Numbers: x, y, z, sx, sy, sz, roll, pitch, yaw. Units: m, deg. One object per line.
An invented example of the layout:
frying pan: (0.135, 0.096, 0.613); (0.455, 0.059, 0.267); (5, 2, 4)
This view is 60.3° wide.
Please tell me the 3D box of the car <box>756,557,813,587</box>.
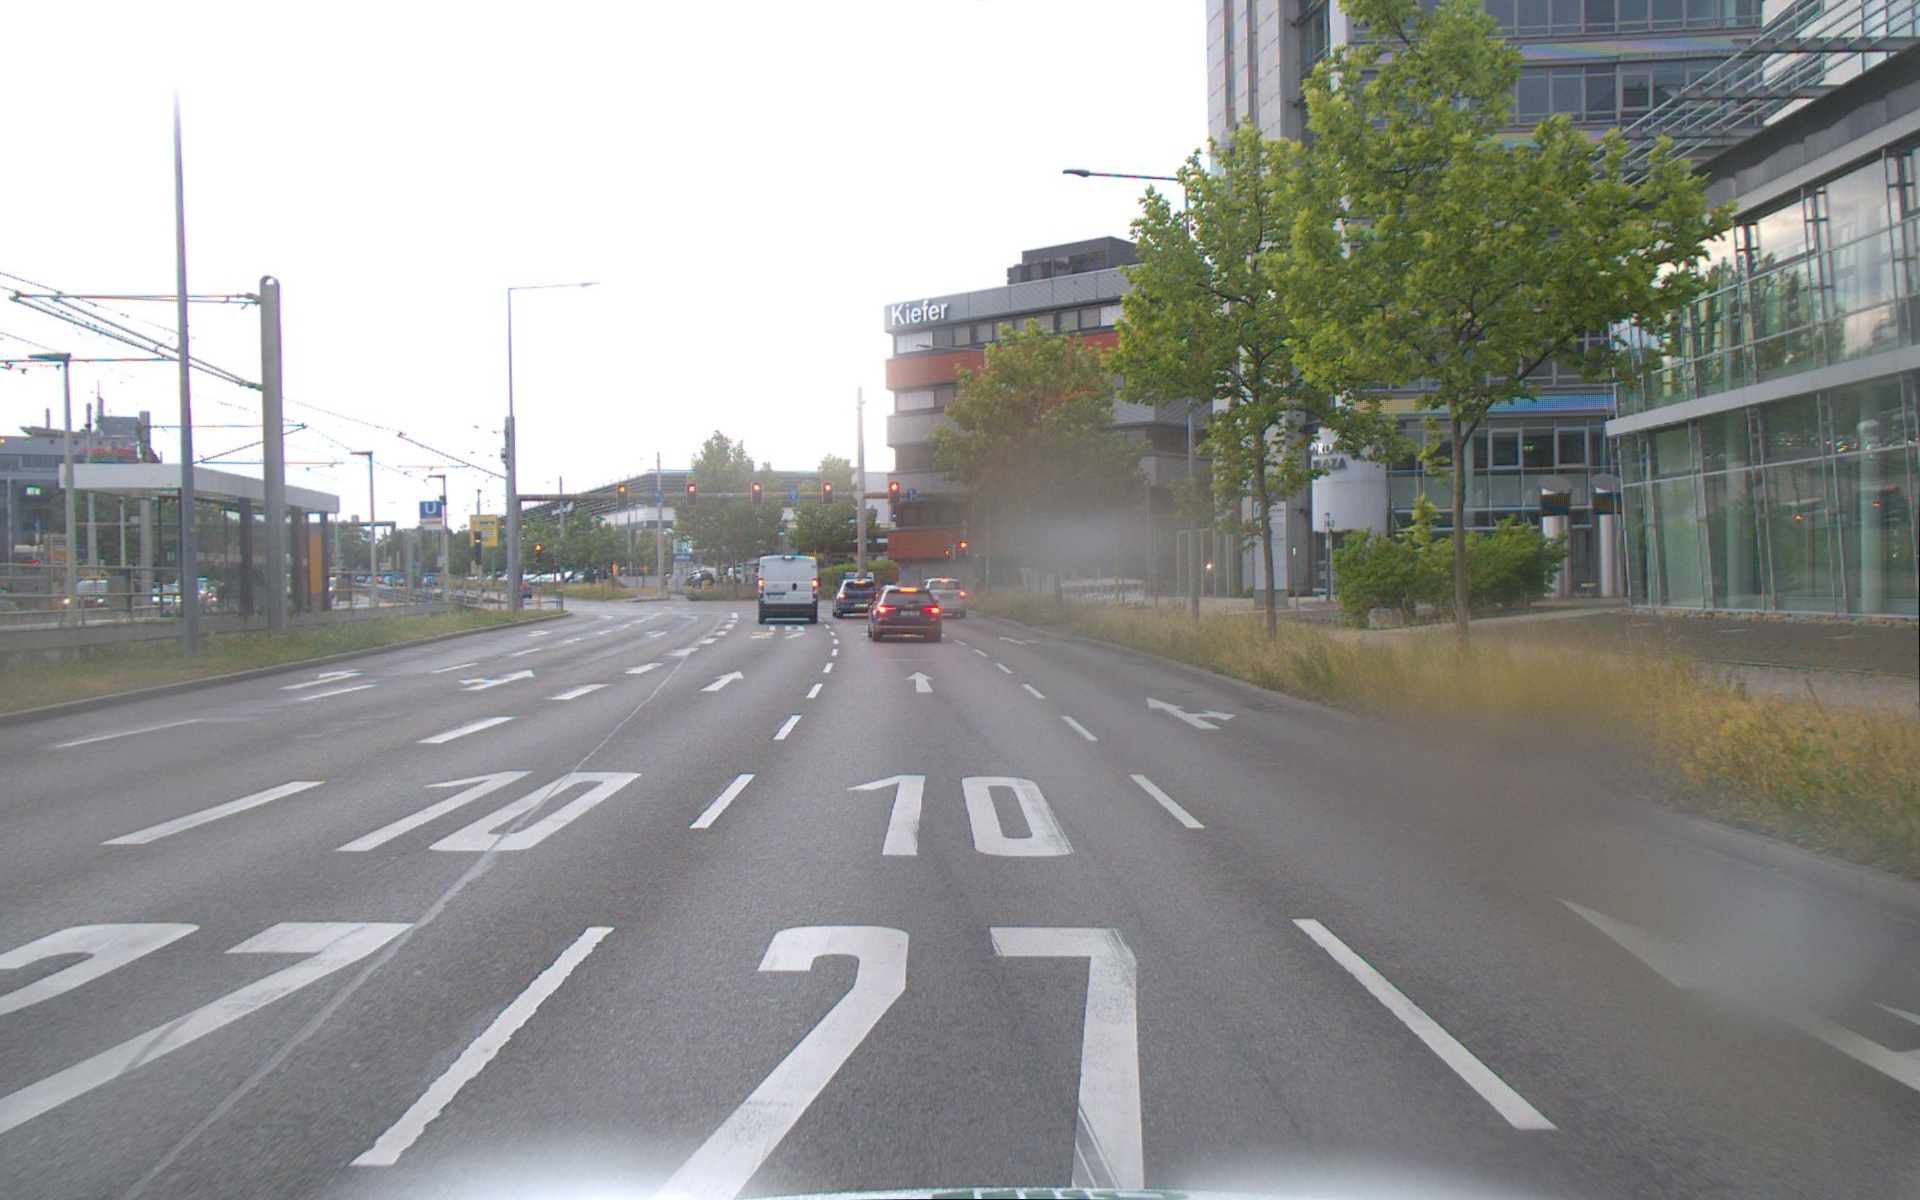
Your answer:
car: (-12.602, -1.987, 118.905); (3.932, 2.049, 1.986); (0, -2, 44)

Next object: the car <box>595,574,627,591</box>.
car: (-46.902, -2.354, 222.379); (3.932, 2.049, 1.986); (1, -3, -23)

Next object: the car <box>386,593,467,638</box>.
car: (-19.518, 0.548, 60.684); (1.955, 1.478, 3.843); (3, 0, -6)

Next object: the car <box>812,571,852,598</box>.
car: (-10.984, -1.308, 141.953); (1.973, 2.049, 3.959); (1, -3, -30)

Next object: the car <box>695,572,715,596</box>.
car: (-25.037, -1.557, 162.230); (1.785, 2.049, 3.461); (0, -3, -11)

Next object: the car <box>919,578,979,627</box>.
car: (-0.454, 0.086, 63.077); (1.982, 1.800, 3.996); (0, 1, -5)

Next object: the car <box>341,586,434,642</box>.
car: (-18.887, 0.463, 54.743); (1.955, 1.704, 3.842); (3, -1, -6)

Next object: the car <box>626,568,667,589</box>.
car: (-32.367, -2.215, 170.792); (3.932, 2.049, 1.986); (1, -3, -23)

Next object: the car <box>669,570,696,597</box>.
car: (-24.564, -1.443, 146.239); (1.961, 2.049, 3.981); (1, -3, -16)

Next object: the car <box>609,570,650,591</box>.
car: (-34.703, -2.070, 173.501); (3.932, 2.049, 1.986); (1, -3, -23)

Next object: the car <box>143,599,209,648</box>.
car: (-36.842, 1.143, 77.828); (1.959, 2.049, 3.986); (0, -5, -13)

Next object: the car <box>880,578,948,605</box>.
car: (-2.979, -0.538, 106.510); (4.252, 1.651, 2.014); (0, -1, 44)

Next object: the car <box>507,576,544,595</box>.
car: (-50.162, -1.657, 191.059); (3.932, 2.049, 1.986); (1, -3, -23)

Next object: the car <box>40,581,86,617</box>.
car: (-56.016, -0.033, 103.286); (1.978, 2.049, 3.947); (2, -4, -37)

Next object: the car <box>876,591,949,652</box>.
car: (-1.205, 0.540, 43.713); (1.728, 1.489, 4.627); (1, 0, 1)

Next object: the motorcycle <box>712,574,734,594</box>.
motorcycle: (-26.456, -1.769, 184.488); (1.961, 2.049, 3.982); (1, -3, -16)

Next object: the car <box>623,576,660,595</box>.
car: (-36.790, -1.673, 191.005); (3.932, 2.049, 1.986); (1, -3, -23)

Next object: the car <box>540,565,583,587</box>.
car: (-39.836, -2.381, 165.348); (3.932, 2.049, 1.986); (1, -3, -23)

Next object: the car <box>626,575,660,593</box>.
car: (-39.716, -2.030, 207.122); (3.932, 2.049, 1.986); (1, -3, -23)

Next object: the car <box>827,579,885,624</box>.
car: (-4.028, 0.071, 63.546); (1.983, 1.651, 3.994); (0, -1, -7)

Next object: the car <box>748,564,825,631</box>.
car: (-5.973, -0.061, 57.600); (2.462, 2.215, 5.145); (0, 0, -4)

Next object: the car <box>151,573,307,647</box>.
car: (-15.747, 0.258, 35.859); (1.955, 1.478, 3.842); (0, -2, -6)

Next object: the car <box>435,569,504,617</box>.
car: (-20.492, -0.276, 69.274); (1.955, 1.840, 3.843); (3, -1, -6)

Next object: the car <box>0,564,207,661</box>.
car: (-14.850, 0.169, 28.842); (1.955, 1.477, 3.844); (0, 3, -6)

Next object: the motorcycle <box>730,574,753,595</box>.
motorcycle: (-24.441, -1.754, 185.151); (1.961, 2.049, 3.982); (1, -3, -16)

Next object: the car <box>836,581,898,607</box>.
car: (-6.185, -0.385, 109.814); (3.932, 1.651, 2.014); (0, -1, 44)
